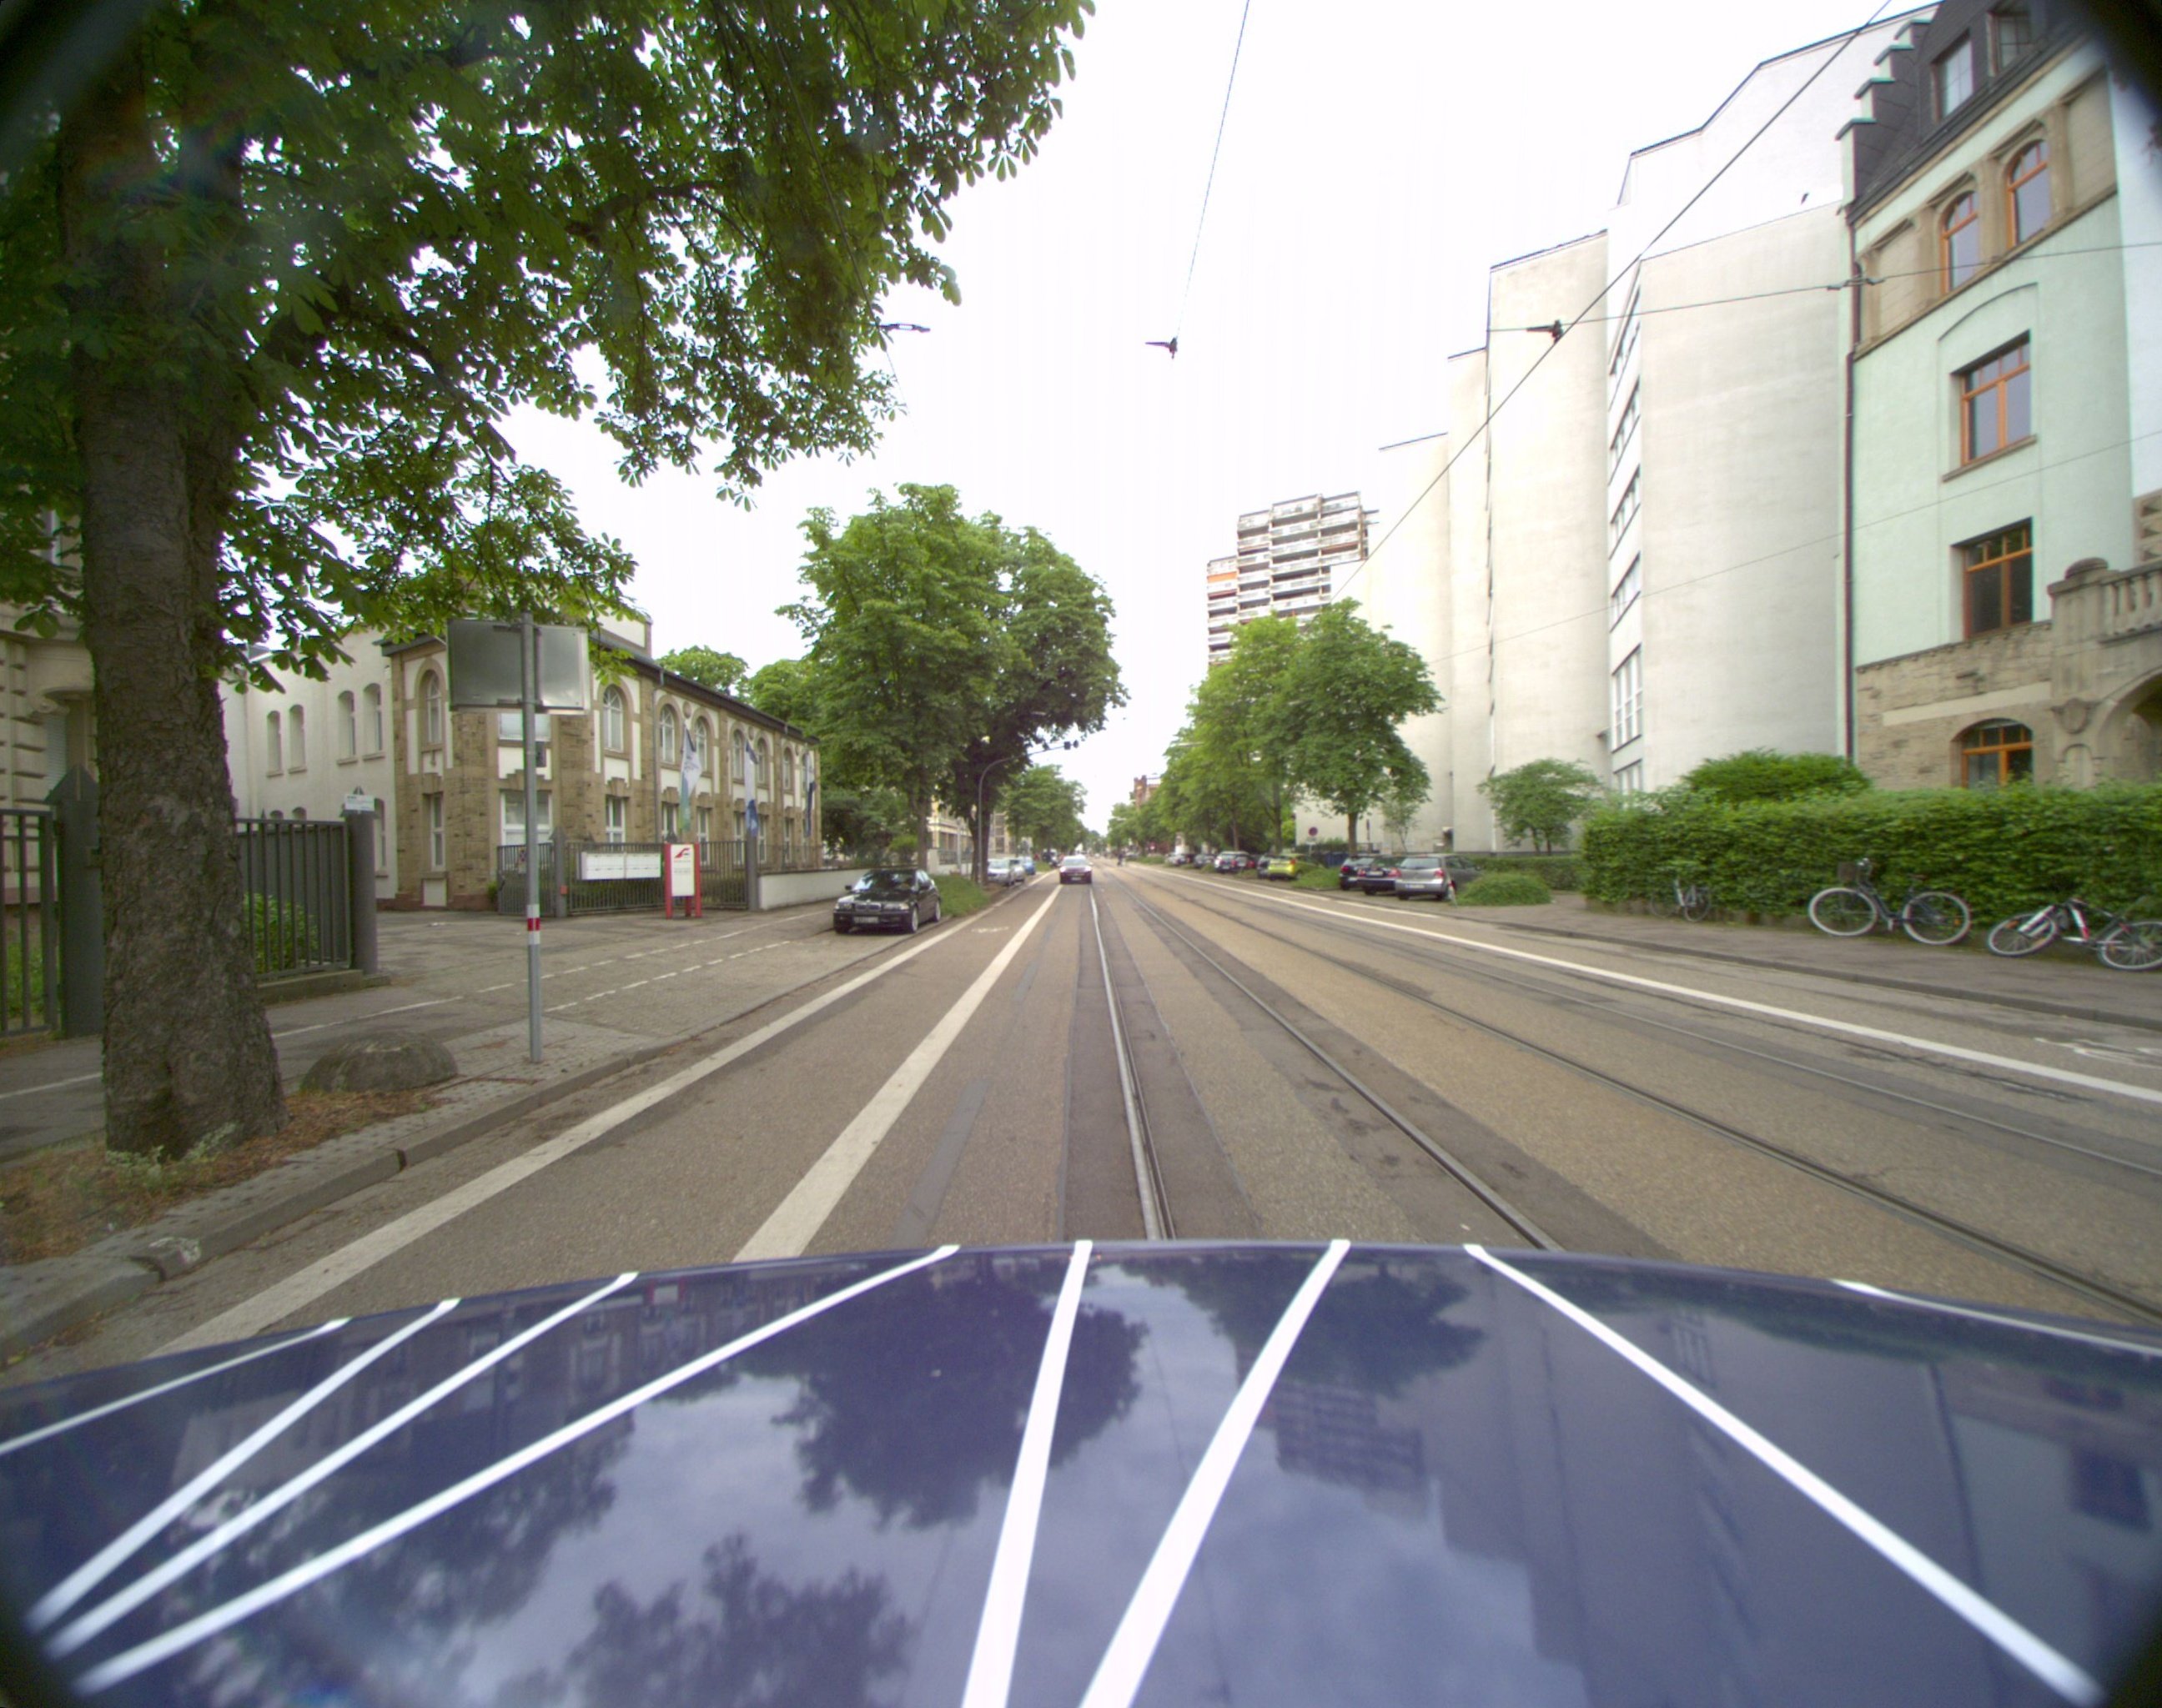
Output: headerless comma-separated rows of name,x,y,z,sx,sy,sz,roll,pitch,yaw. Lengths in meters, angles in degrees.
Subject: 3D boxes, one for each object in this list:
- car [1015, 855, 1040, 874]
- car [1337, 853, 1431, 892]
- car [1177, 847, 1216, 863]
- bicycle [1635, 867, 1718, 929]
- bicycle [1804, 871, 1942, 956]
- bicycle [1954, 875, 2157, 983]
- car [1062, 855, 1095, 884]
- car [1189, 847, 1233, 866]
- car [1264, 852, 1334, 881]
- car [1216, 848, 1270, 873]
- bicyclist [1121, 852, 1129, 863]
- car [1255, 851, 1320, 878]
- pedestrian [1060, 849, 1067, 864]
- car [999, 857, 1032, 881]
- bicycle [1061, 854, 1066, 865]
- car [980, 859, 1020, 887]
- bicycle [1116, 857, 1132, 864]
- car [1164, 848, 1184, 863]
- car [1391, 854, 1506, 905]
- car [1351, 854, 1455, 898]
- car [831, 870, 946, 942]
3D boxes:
car,-4.155,0.783,59.731,1.606,1.362,3.837,1,0,1
car,11.926,0.686,29.812,4.008,1.395,1.691,-1,1,-39
car,11.587,0.089,76.064,4.008,1.611,1.690,-1,1,-43
bicycle,11.202,0.802,14.340,0.360,1.077,1.546,-1,1,1
bicycle,11.182,0.798,10.799,0.360,1.077,1.546,-1,1,1
bicycle,11.078,0.808,8.719,0.360,1.077,1.546,-1,1,1
car,-0.110,0.796,41.214,1.606,1.427,3.777,-2,0,2
car,11.456,0.218,66.710,4.008,1.611,1.690,-1,1,-43
car,11.503,0.625,40.047,4.008,1.387,1.690,-1,1,-43
car,11.293,0.414,52.822,4.008,1.611,1.690,-1,1,-43
bicyclist,5.262,0.445,90.245,0.875,1.247,0.752,-1,1,-2
car,11.755,0.570,43.094,4.008,1.434,1.690,-1,1,-43
pedestrian,-1.802,0.267,79.597,0.684,1.541,0.704,-1,1,1
car,-4.031,0.893,47.217,1.606,1.416,3.837,1,0,1
bicycle,-1.791,0.578,79.624,0.414,1.197,1.707,-1,1,1
car,-4.220,0.954,40.079,1.606,1.362,3.837,1,0,1
bicycle,5.129,0.779,90.258,1.889,0.784,0.568,-1,1,-1
car,10.579,0.128,86.369,1.694,1.611,3.999,-1,0,-1
car,11.572,0.742,23.816,4.008,1.395,1.691,-1,1,-39
car,11.362,0.726,26.709,4.008,1.395,1.691,-1,1,-39
car,-4.296,1.110,17.507,1.606,1.362,3.837,1,0,1
